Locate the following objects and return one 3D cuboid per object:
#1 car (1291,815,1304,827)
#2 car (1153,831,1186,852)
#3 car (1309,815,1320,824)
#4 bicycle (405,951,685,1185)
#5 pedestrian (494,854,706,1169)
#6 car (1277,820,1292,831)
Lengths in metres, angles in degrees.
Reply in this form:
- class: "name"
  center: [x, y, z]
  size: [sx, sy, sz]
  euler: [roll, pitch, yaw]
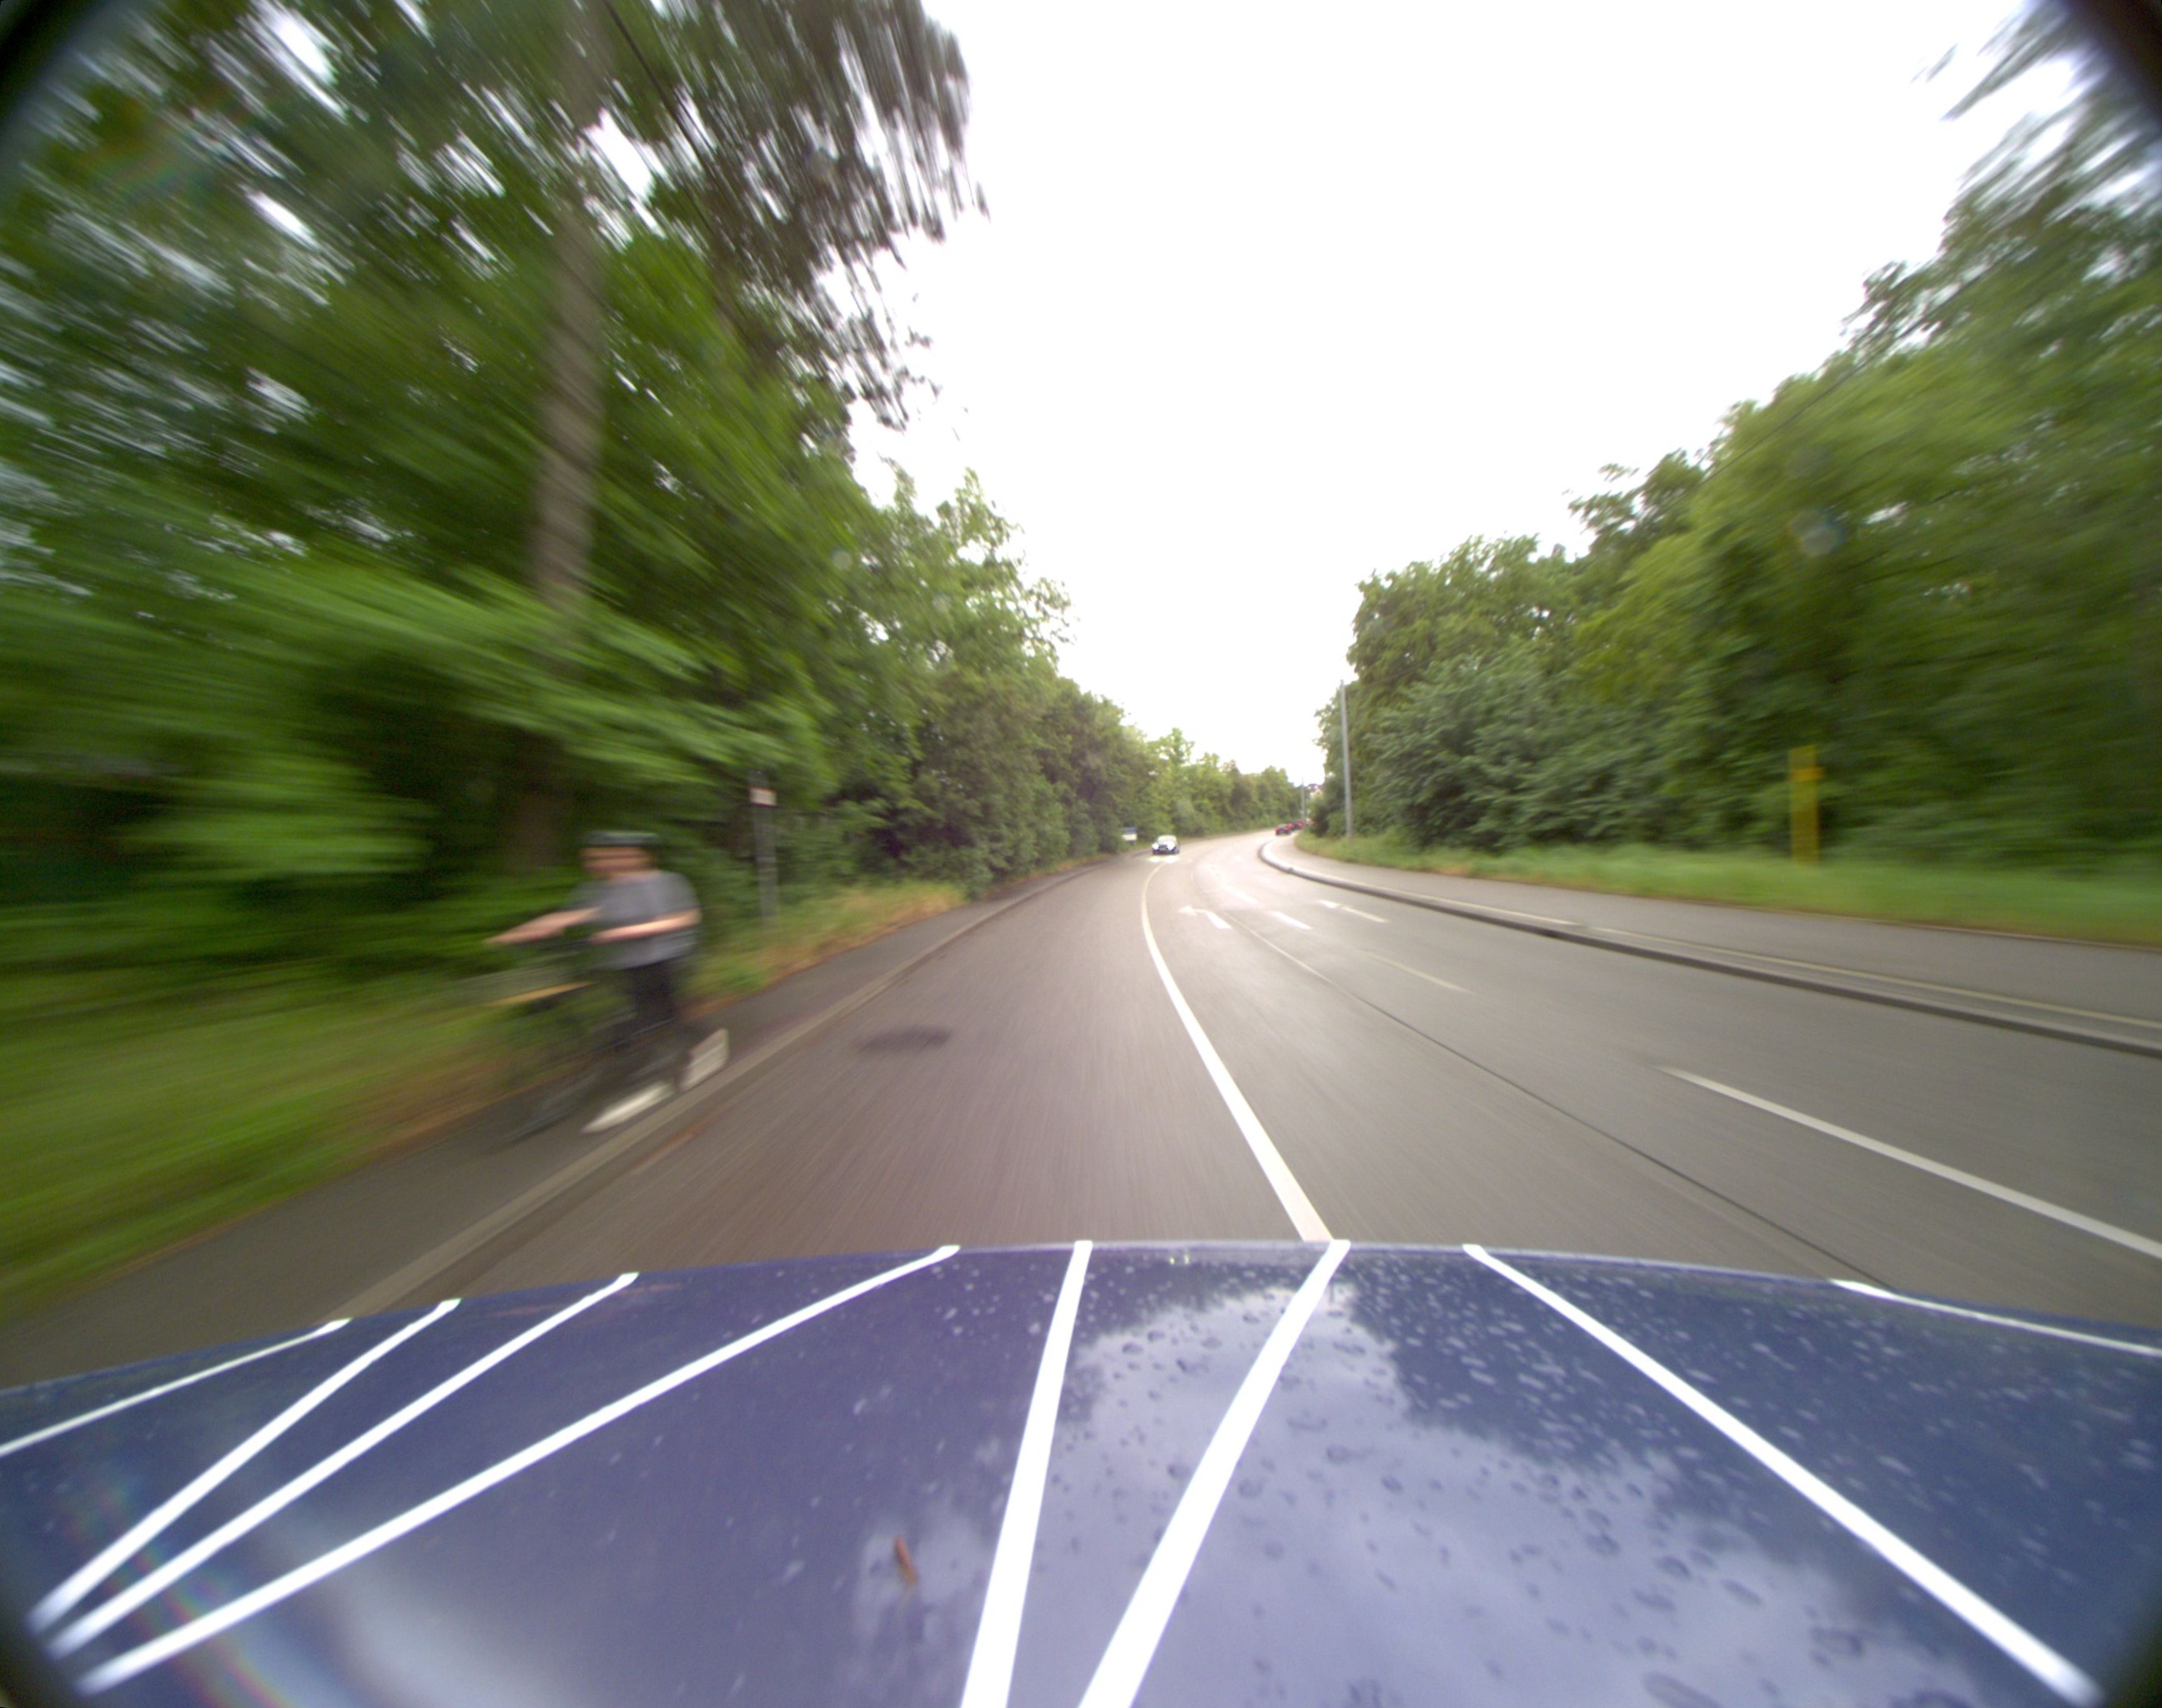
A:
- class: "car"
  center: [34.315, -5.227, 120.366]
  size: [1.829, 1.833, 4.716]
  euler: [3, 2, 17]
- class: "car"
  center: [7.044, -1.008, 60.281]
  size: [1.829, 1.512, 4.004]
  euler: [3, 2, 17]
- class: "car"
  center: [42.748, -6.375, 139.415]
  size: [1.829, 1.512, 4.004]
  euler: [3, 2, 17]
- class: "bicycle"
  center: [-2.967, 1.117, 4.434]
  size: [0.356, 0.844, 1.742]
  euler: [1, 1, 2]
- class: "pedestrian"
  center: [-2.622, 0.811, 4.234]
  size: [0.565, 1.569, 0.769]
  euler: [-1, 4, 2]
- class: "car"
  center: [28.254, -3.940, 105.344]
  size: [1.829, 1.432, 4.005]
  euler: [-2, 0, 17]
